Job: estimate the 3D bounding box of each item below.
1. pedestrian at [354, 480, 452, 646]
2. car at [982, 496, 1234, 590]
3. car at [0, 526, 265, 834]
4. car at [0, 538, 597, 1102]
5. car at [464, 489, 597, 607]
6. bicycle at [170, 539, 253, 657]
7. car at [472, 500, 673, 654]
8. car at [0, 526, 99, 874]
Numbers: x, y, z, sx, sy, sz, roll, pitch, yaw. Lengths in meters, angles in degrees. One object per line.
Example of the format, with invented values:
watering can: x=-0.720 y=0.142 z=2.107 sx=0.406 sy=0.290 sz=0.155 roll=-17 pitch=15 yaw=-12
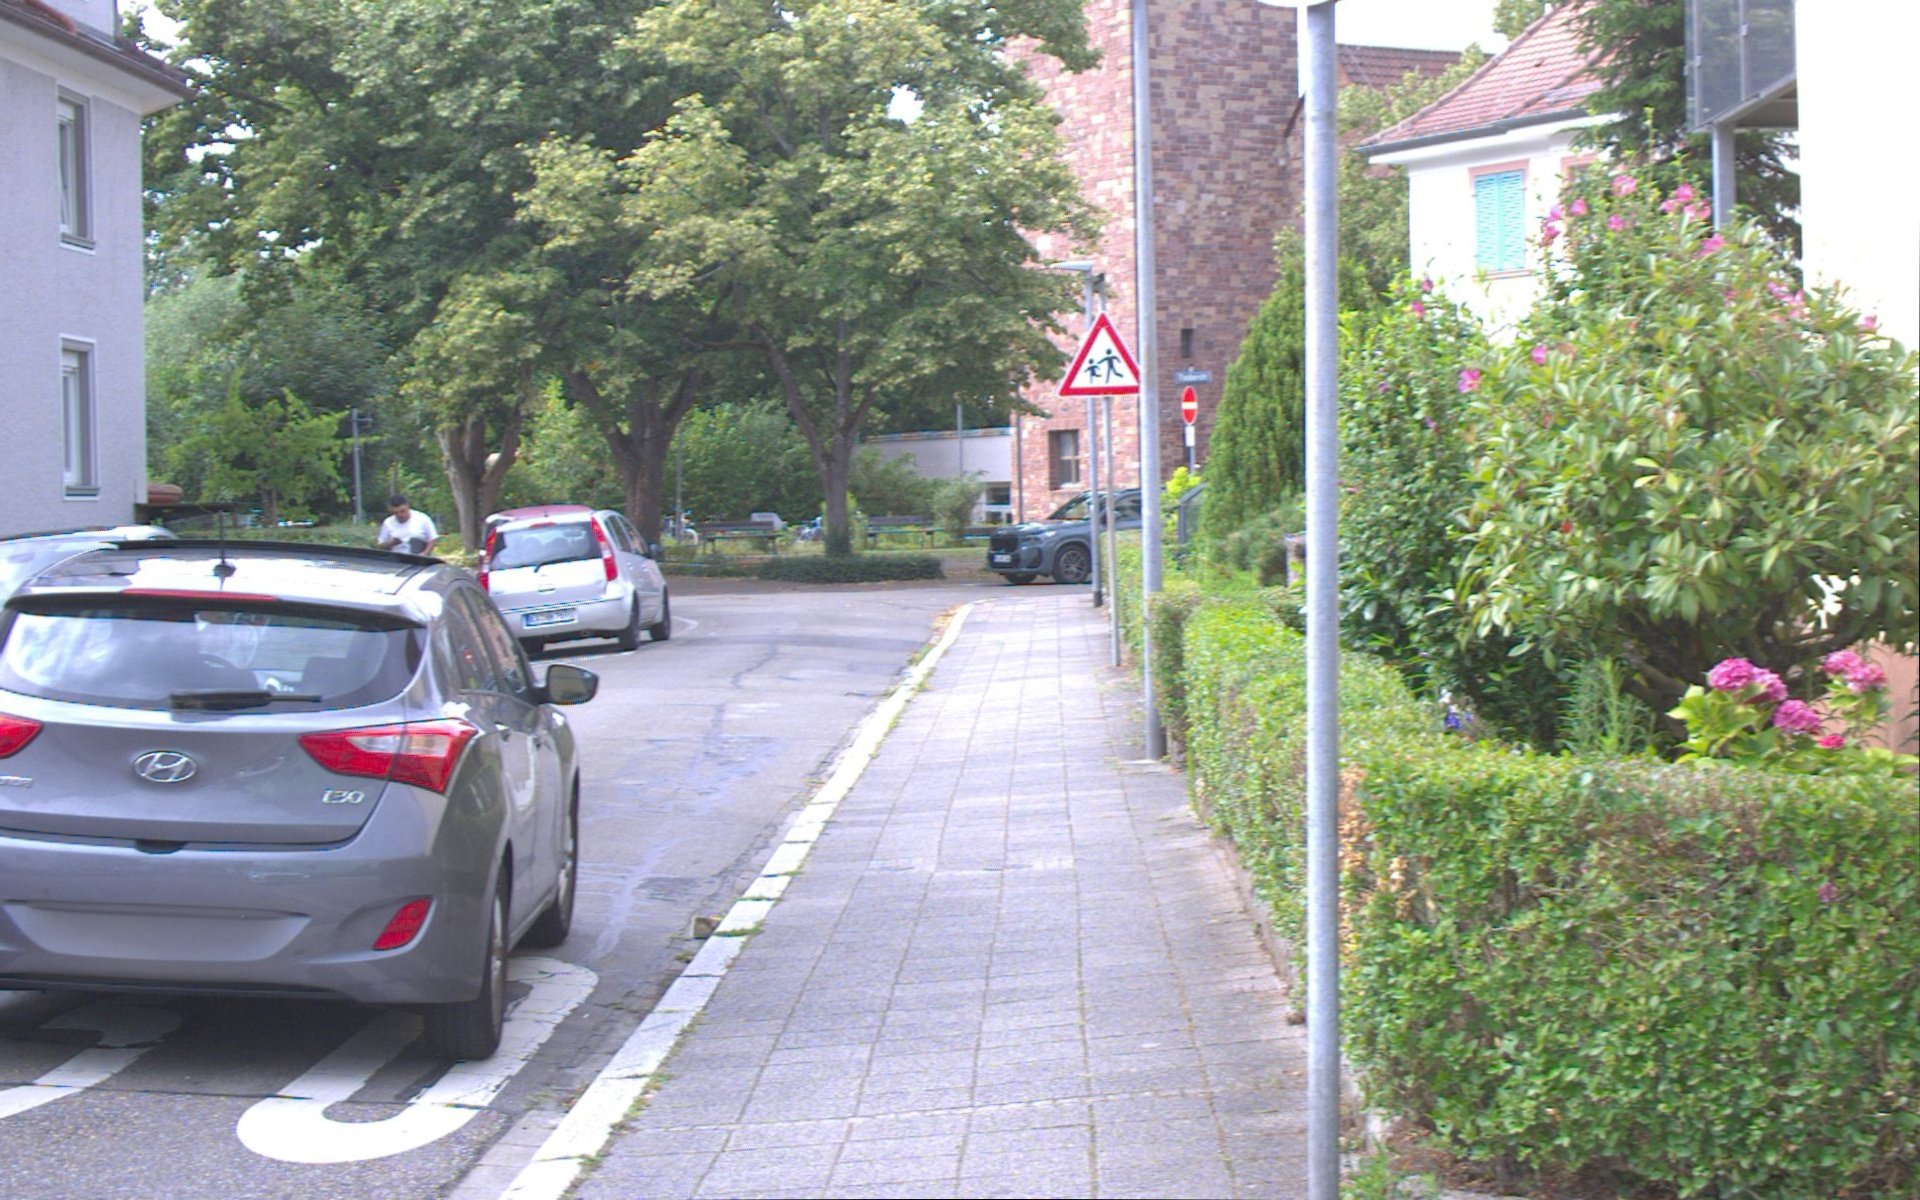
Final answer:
pedestrian: x=-6.384 y=-0.434 z=39.439 sx=0.881 sy=1.872 sz=1.079 roll=-1 pitch=2 yaw=2
car: x=2.504 y=-0.980 z=58.613 sx=4.214 sy=1.459 sz=1.684 roll=-1 pitch=3 yaw=1
car: x=-5.100 y=0.406 z=19.051 sx=1.645 sy=1.490 sz=3.482 roll=-4 pitch=2 yaw=1
car: x=-2.300 y=0.569 z=11.403 sx=1.848 sy=1.475 sz=4.042 roll=-1 pitch=2 yaw=-2
car: x=-6.020 y=-0.744 z=48.472 sx=1.645 sy=1.490 sz=3.482 roll=-4 pitch=2 yaw=-5
bicycle: x=-7.364 y=-0.040 z=33.881 sx=0.422 sy=1.099 sz=2.115 roll=-1 pitch=2 yaw=-2
car: x=-4.171 y=-0.287 z=37.483 sx=1.645 sy=1.490 sz=3.482 roll=-4 pitch=2 yaw=1
car: x=-5.012 y=0.503 z=14.685 sx=1.645 sy=1.490 sz=3.482 roll=-4 pitch=2 yaw=1
